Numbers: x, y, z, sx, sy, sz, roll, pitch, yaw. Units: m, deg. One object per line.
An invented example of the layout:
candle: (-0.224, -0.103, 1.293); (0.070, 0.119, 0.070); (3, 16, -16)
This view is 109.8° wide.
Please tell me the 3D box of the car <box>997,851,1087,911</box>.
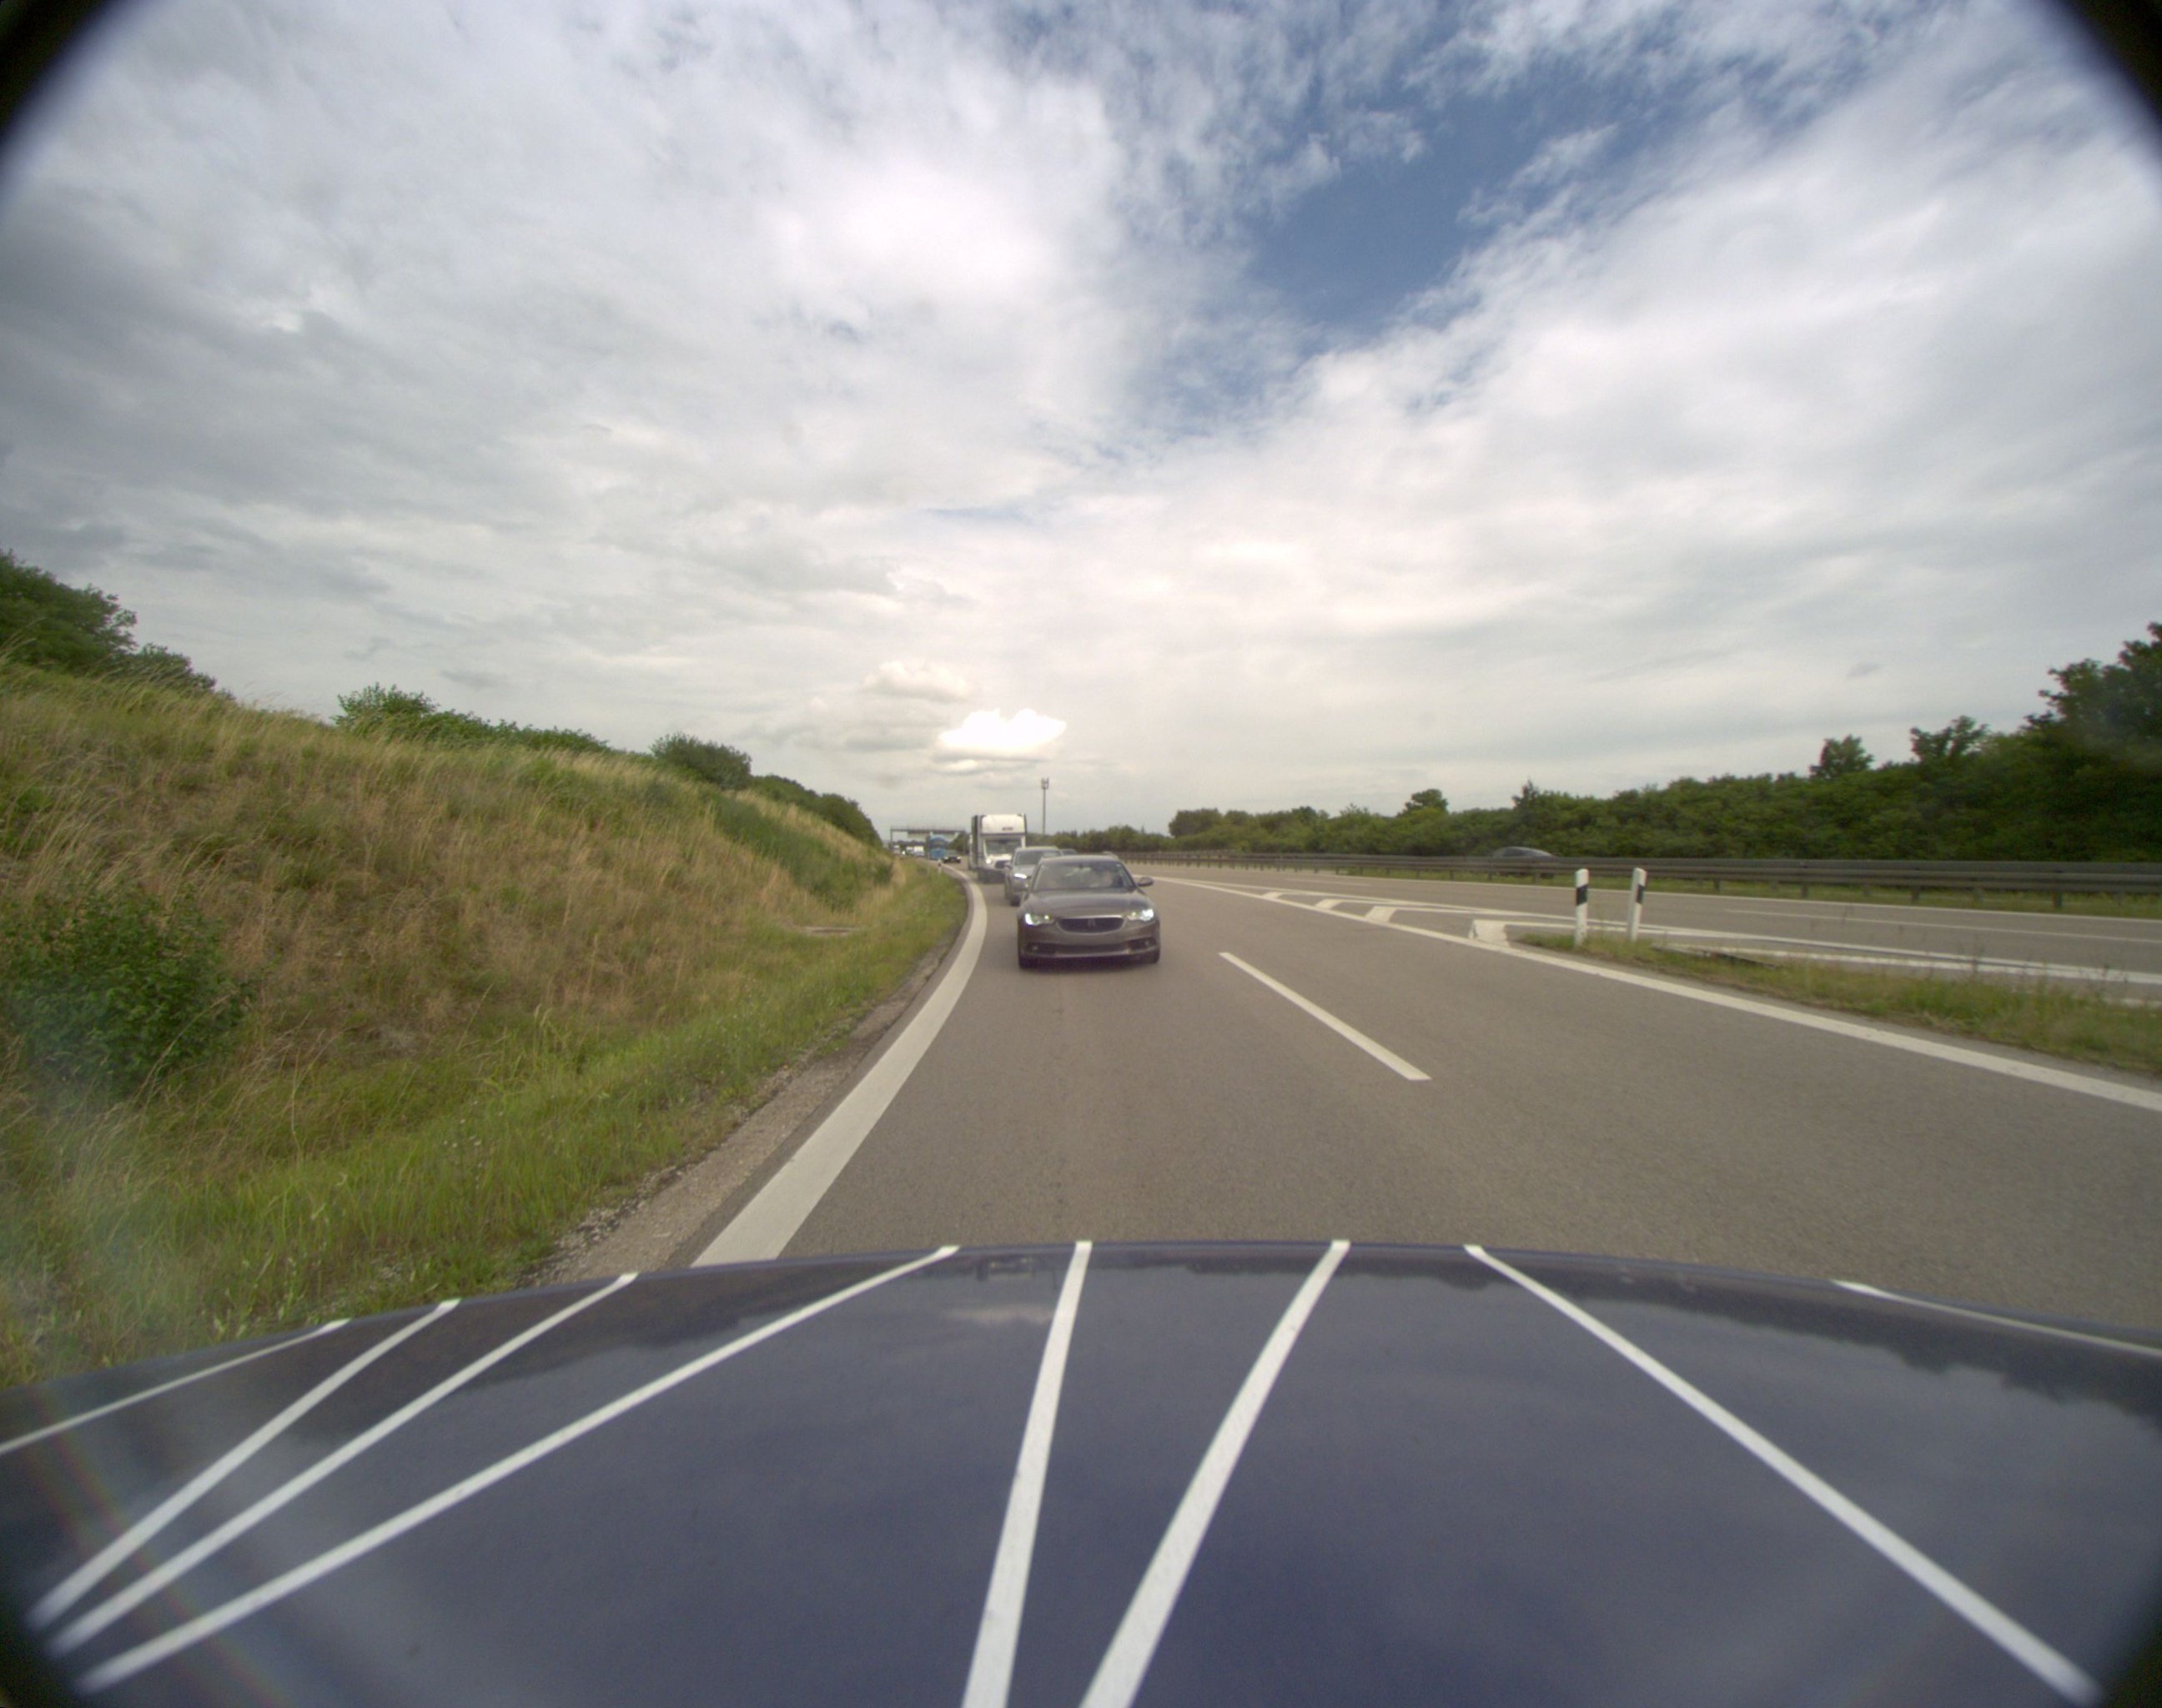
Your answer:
car: (-1.253, 0.706, 22.466); (2.001, 1.567, 3.995); (-1, 1, -12)

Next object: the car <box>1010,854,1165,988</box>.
car: (-0.037, 0.812, 11.237); (1.849, 1.489, 4.027); (-2, 1, -3)

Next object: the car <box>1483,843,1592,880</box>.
car: (22.357, 0.319, 37.456); (2.001, 1.652, 4.559); (-1, 1, -13)

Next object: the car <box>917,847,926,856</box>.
car: (-36.401, -0.593, 173.215); (1.932, 2.020, 3.995); (-1, 1, -13)

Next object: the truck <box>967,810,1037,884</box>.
truck: (-3.970, -0.361, 36.783); (2.451, 3.217, 7.182); (-1, 1, -13)

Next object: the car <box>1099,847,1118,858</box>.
car: (4.164, -0.215, 114.175); (1.810, 1.587, 3.994); (-1, 1, -14)

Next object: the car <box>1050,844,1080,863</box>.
car: (-1.420, -0.046, 65.585); (1.716, 1.546, 3.995); (-1, 1, -13)

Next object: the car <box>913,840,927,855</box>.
car: (-38.294, -1.507, 180.214); (2.949, 3.447, 6.562); (-1, 1, -14)

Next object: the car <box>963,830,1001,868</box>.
car: (-7.554, -0.394, 57.398); (2.023, 2.729, 6.918); (-1, 1, -14)

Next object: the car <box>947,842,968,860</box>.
car: (-14.069, -0.334, 86.513); (2.001, 2.002, 3.995); (-1, 1, -14)

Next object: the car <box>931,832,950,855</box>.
car: (-23.005, -1.704, 123.847); (2.507, 3.689, 7.691); (-1, 1, -14)
